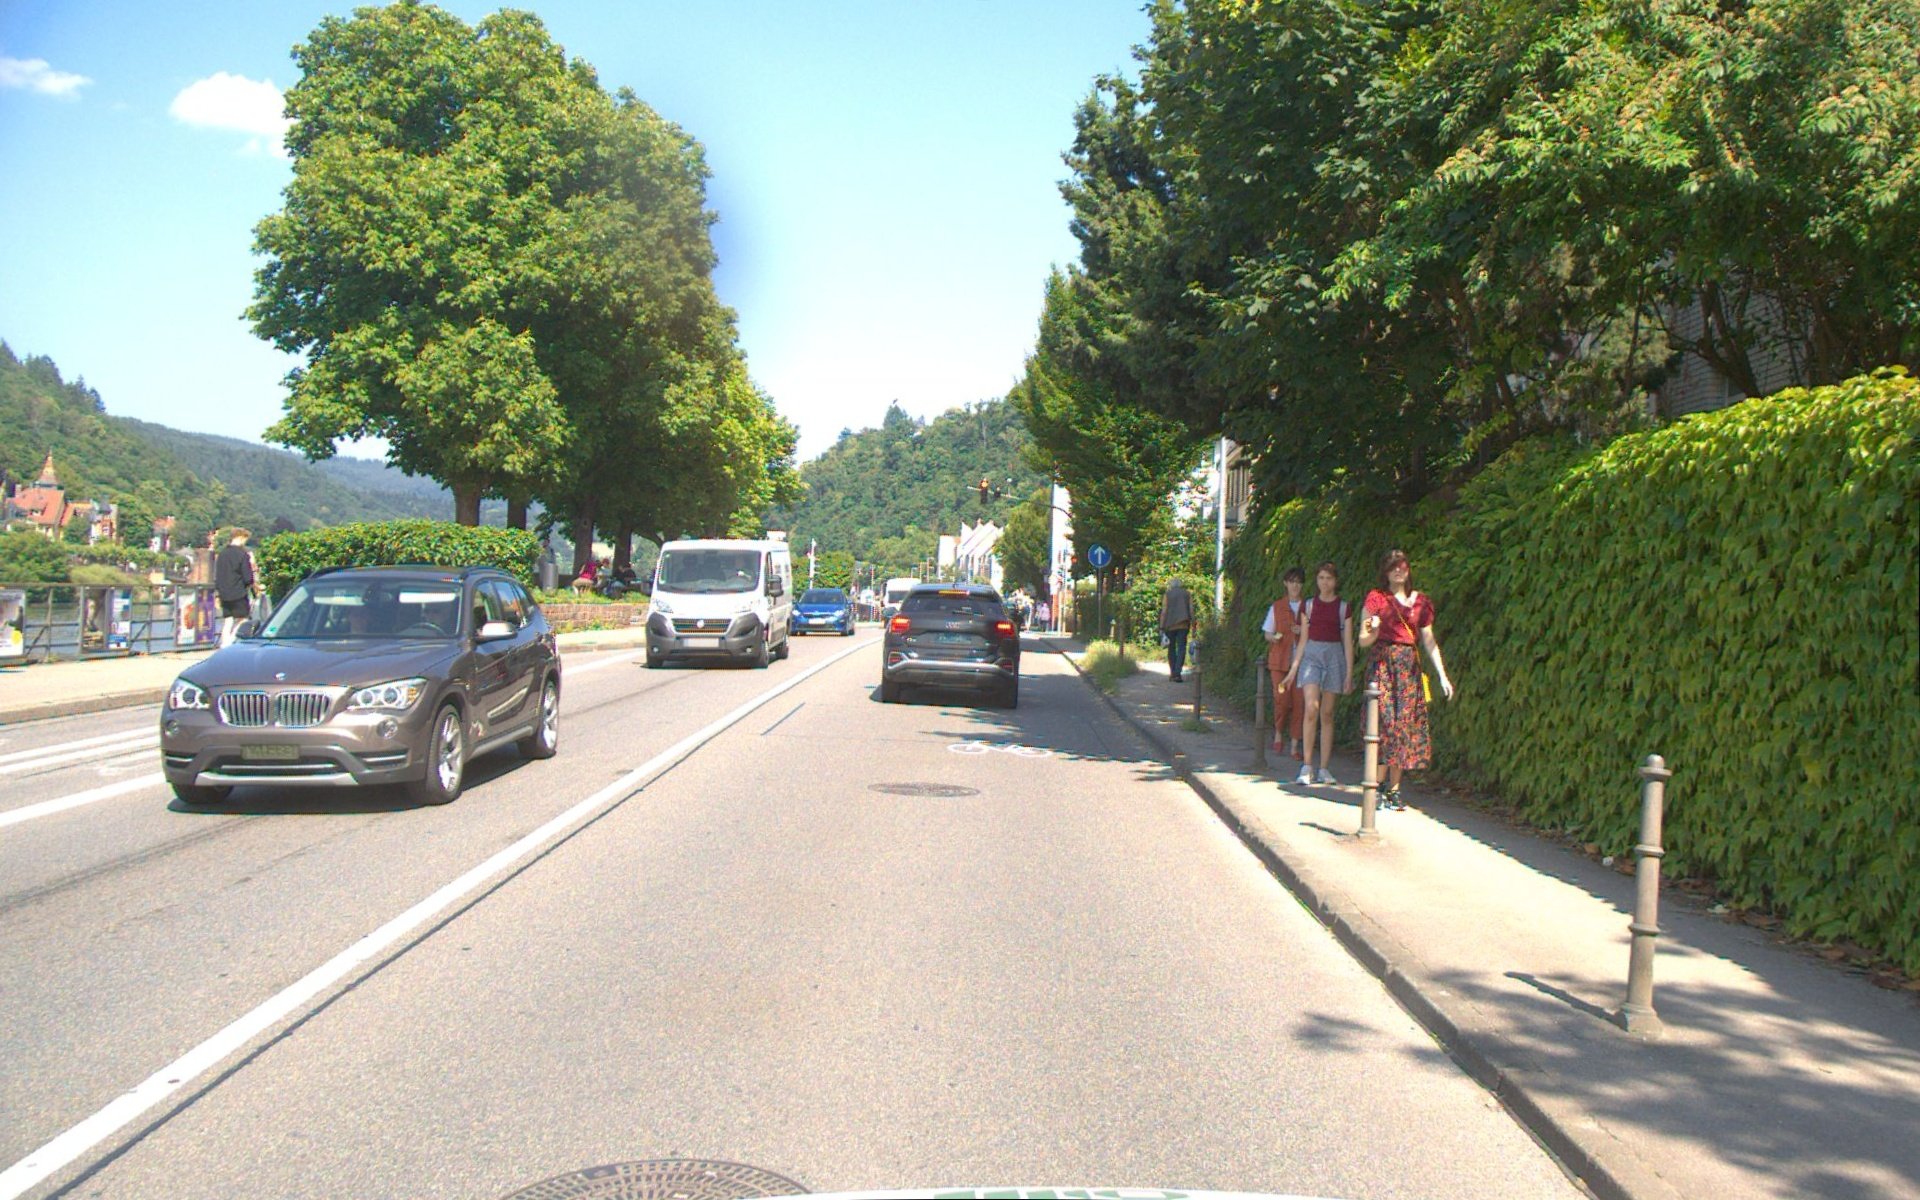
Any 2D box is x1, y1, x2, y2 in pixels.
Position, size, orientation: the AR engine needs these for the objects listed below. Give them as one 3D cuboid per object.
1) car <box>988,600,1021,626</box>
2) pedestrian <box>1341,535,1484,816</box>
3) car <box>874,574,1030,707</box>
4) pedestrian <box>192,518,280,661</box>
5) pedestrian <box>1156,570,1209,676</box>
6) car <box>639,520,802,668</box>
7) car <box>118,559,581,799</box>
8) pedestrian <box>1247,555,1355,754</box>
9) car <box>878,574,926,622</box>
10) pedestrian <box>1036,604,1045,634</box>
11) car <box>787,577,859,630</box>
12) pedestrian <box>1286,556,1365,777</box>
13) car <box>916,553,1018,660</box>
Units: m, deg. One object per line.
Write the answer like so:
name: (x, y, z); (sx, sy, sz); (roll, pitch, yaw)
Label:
car: (2.768, 0.826, 102.946); (1.952, 1.478, 4.008); (1, -2, 0)
pedestrian: (2.978, 0.473, 10.967); (0.667, 1.773, 0.913); (1, 0, 0)
car: (-0.015, 0.480, 22.190); (1.818, 1.550, 4.002); (2, 0, 3)
pedestrian: (-10.180, -0.129, 23.283); (0.738, 1.951, 1.009); (1, -2, 0)
pedestrian: (3.594, 0.369, 26.794); (0.713, 1.679, 0.882); (-1, 0, 0)
car: (-4.150, -0.141, 29.683); (2.053, 2.342, 5.868); (1, 1, 0)
car: (-4.148, 0.434, 12.062); (1.778, 1.422, 4.346); (1, 1, 0)
pedestrian: (2.945, 0.451, 14.354); (0.720, 1.662, 0.920); (1, 0, 0)
car: (-3.212, -0.069, 92.810); (2.443, 2.510, 5.619); (1, -2, 0)
pedestrian: (4.371, 1.044, 89.822); (0.479, 1.586, 0.461); (1, -2, 0)
car: (-4.158, 0.147, 50.795); (1.860, 1.515, 3.795); (1, -1, 0)
pedestrian: (2.772, 0.494, 12.586); (0.446, 1.634, 0.579); (1, 0, 0)
car: (0.144, 0.138, 34.031); (1.953, 2.049, 4.000); (1, 0, 0)
